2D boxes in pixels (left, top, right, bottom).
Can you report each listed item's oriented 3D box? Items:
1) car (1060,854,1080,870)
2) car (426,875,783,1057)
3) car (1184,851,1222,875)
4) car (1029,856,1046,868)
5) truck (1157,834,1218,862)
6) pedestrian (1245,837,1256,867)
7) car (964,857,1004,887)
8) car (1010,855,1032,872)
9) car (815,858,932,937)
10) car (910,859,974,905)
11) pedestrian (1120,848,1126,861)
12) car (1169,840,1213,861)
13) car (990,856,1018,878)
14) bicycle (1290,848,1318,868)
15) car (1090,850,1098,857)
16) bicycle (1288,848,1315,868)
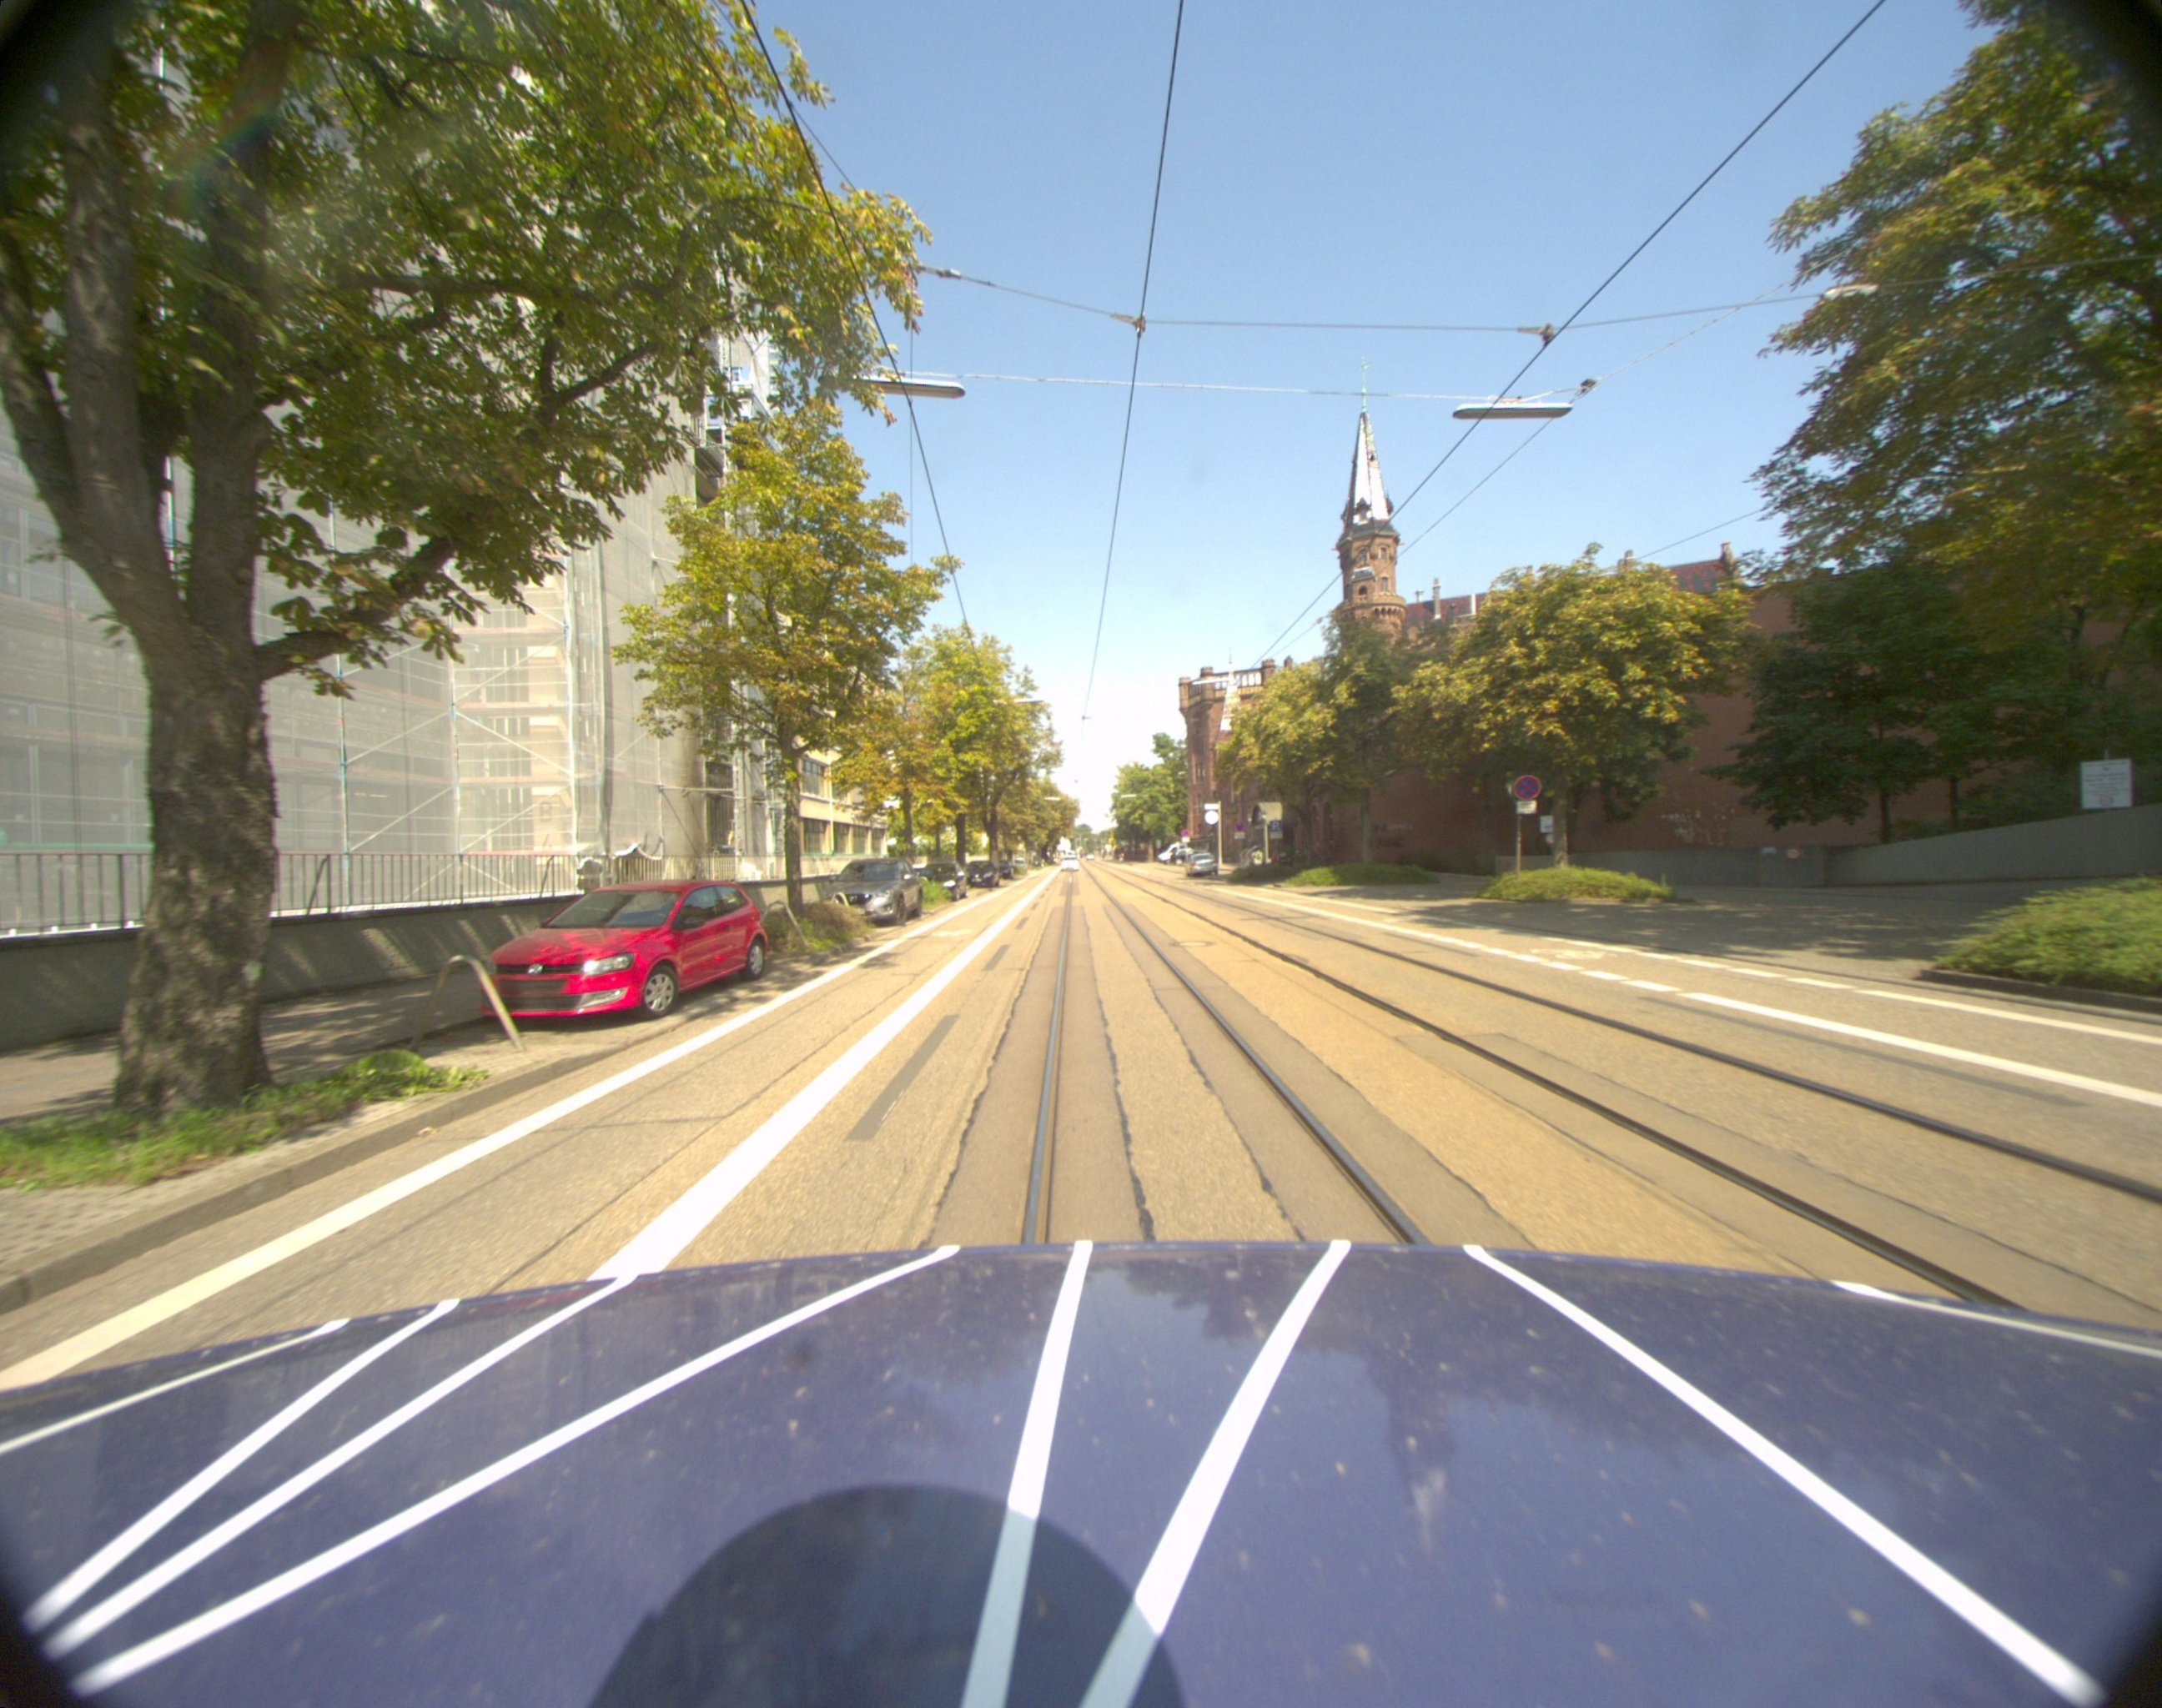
[{"bbox_3d":[-1.025,0.734,73.644,1.824,1.483,4.018,-1,0,0],"label":"car"},{"bbox_3d":[-5.277,1.110,9.191,1.689,1.492,4.131,-2,1,-1],"label":"car"},{"bbox_3d":[8.068,0.577,50.712,1.939,1.493,4.514,-2,0,2],"label":"car"},{"bbox_3d":[-5.949,1.072,103.273,1.998,1.521,4.000,-2,0,0],"label":"car"},{"bbox_3d":[12.356,-0.723,88.579,6.511,2.510,2.317,-6,0,0],"label":"truck"},{"bbox_3d":[11.435,-0.124,51.310,0.504,1.969,0.520,-1,2,44],"label":"pedestrian"},{"bbox_3d":[-5.392,0.988,42.643,1.645,1.561,4.084,-1,0,1],"label":"car"},{"bbox_3d":[-5.770,0.897,73.428,1.642,1.464,3.878,-2,0,1],"label":"car"},{"bbox_3d":[-5.198,1.006,19.685,1.766,1.678,4.648,-2,0,-1],"label":"car"},{"bbox_3d":[-5.379,1.035,29.857,1.689,1.561,4.000,-2,0,0],"label":"car"},{"bbox_3d":[6.262,0.082,113.639,0.736,1.837,0.828,-2,1,0],"label":"pedestrian"},{"bbox_3d":[11.888,-0.394,82.564,4.407,1.787,2.000,-6,0,2],"label":"car"},{"bbox_3d":[-5.466,0.920,54.222,1.643,1.464,3.993,0,0,-1],"label":"car"},{"bbox_3d":[13.220,0.245,45.069,1.449,1.056,0.377,-7,2,-10],"label":"bicycle"},{"bbox_3d":[3.351,-0.016,201.864,1.998,1.783,4.000,-2,0,0],"label":"car"},{"bbox_3d":[13.172,0.245,45.375,1.449,1.056,0.377,-7,2,-10],"label":"bicycle"}]
